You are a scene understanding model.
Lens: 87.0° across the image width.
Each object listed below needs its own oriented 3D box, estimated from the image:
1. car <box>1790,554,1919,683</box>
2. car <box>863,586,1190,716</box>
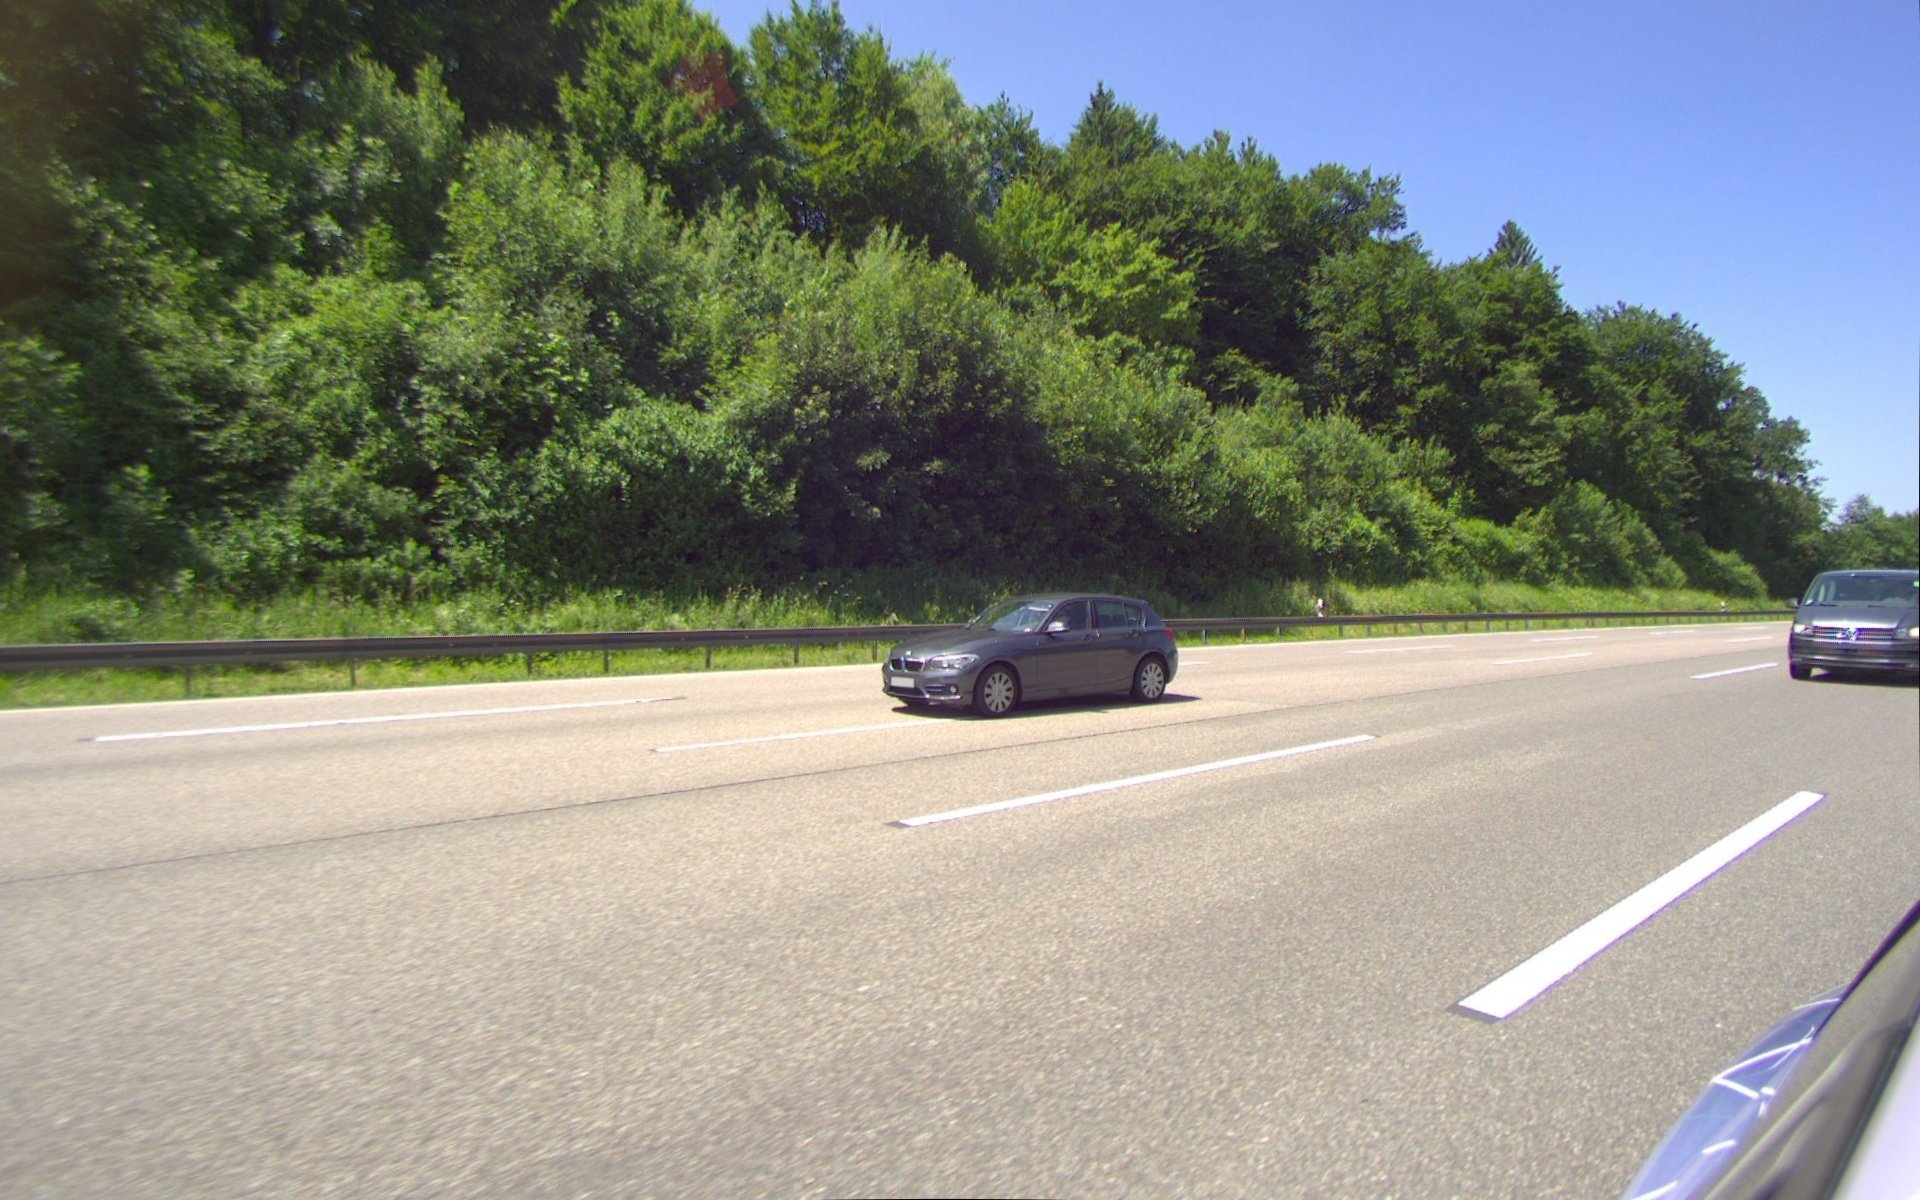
[{"bbox_3d":[16.863,0.269,18.314,4.993,2.059,1.967,0,1,-40],"label":"car"},{"bbox_3d":[0.937,0.533,12.926,4.077,1.413,1.707,0,1,-38],"label":"car"}]
